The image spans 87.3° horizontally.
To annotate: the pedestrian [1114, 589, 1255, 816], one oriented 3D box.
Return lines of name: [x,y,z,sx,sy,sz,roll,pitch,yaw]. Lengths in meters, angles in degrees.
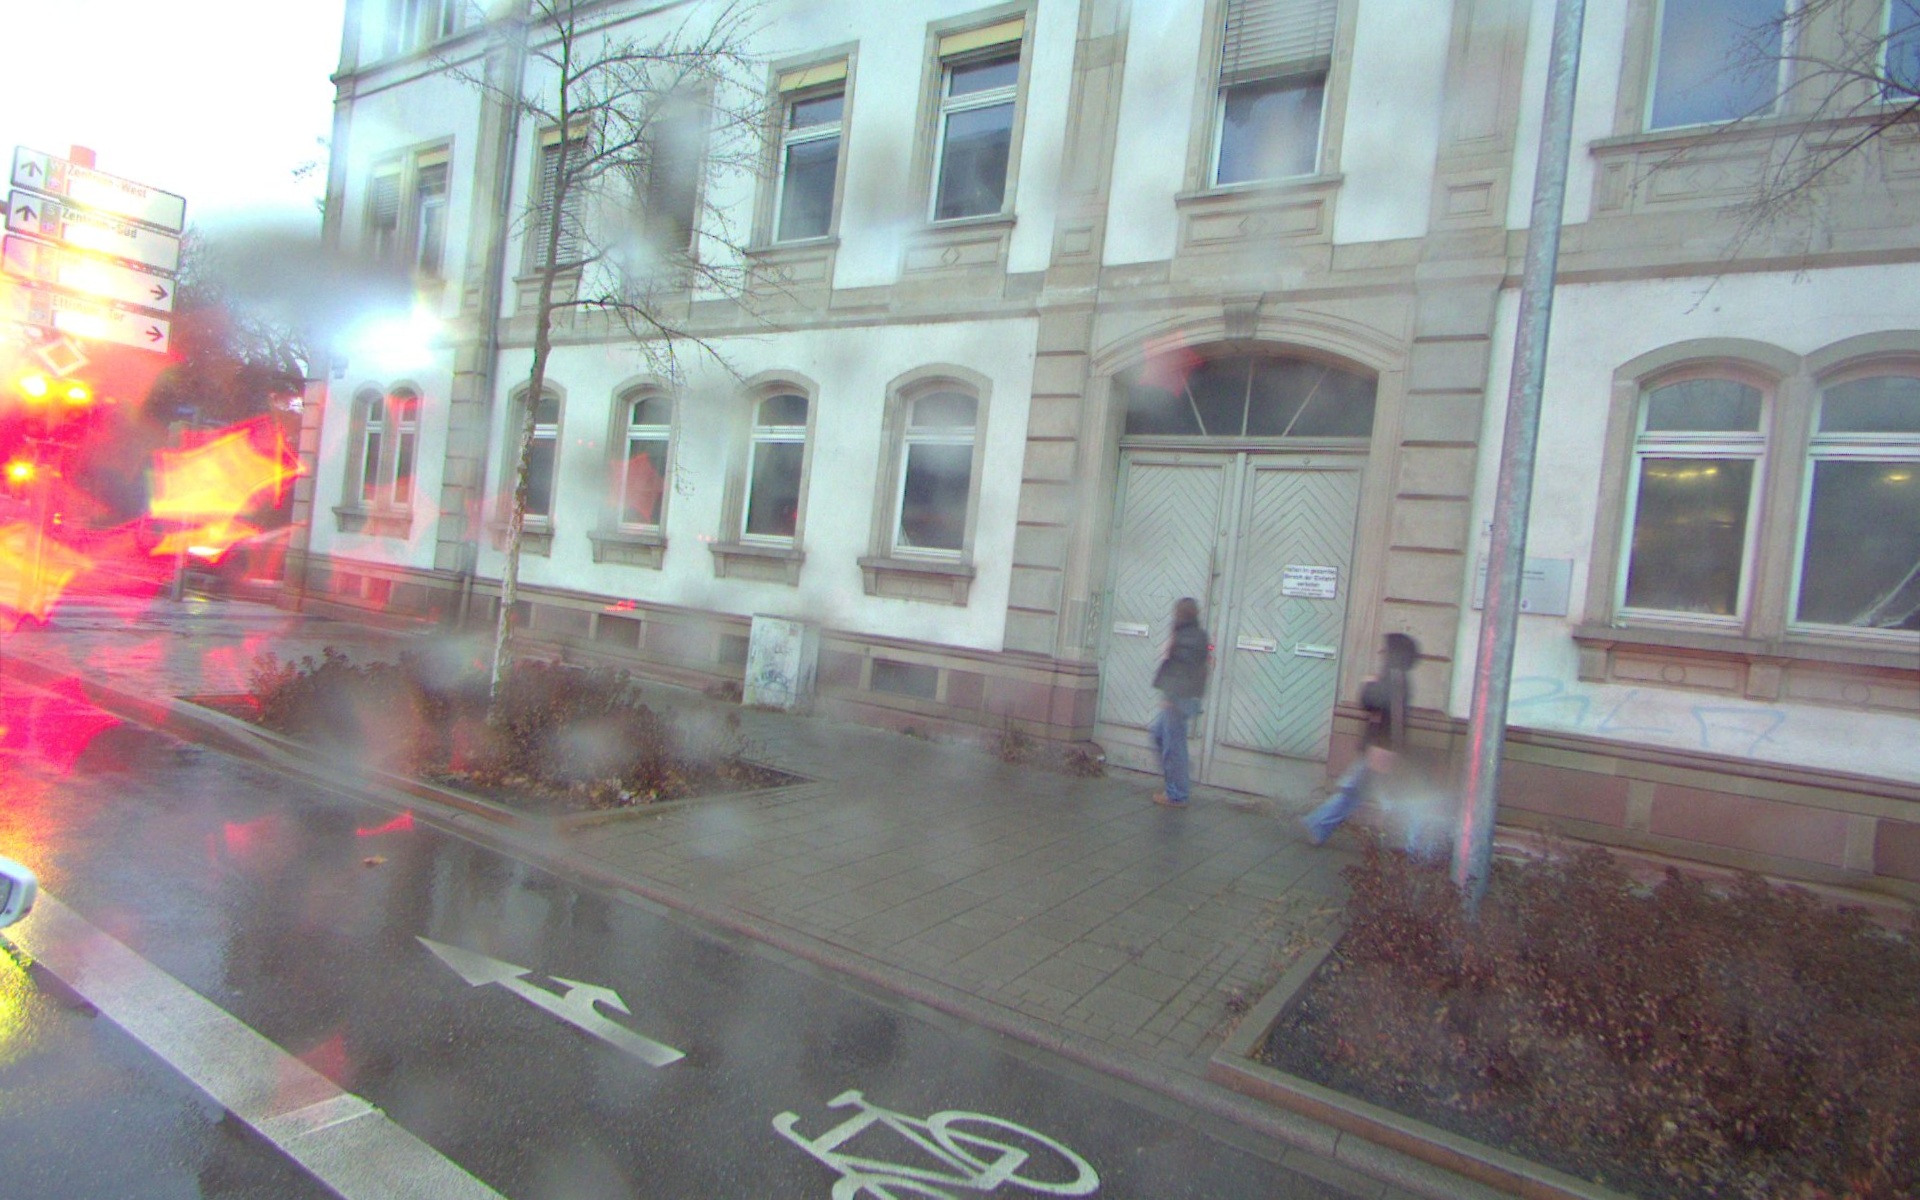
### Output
pedestrian: [1.857,0.819,8.271,0.695,1.694,0.868,7,1,33]

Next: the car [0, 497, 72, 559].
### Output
car: [-26.130,-2.089,26.385,3.966,1.417,1.742,9,-3,-35]

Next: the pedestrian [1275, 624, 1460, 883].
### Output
pedestrian: [2.861,1.017,7.034,0.914,1.564,0.869,7,1,32]

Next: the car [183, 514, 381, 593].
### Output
car: [-17.730,-1.174,26.435,4.072,1.458,1.822,8,-2,-37]
